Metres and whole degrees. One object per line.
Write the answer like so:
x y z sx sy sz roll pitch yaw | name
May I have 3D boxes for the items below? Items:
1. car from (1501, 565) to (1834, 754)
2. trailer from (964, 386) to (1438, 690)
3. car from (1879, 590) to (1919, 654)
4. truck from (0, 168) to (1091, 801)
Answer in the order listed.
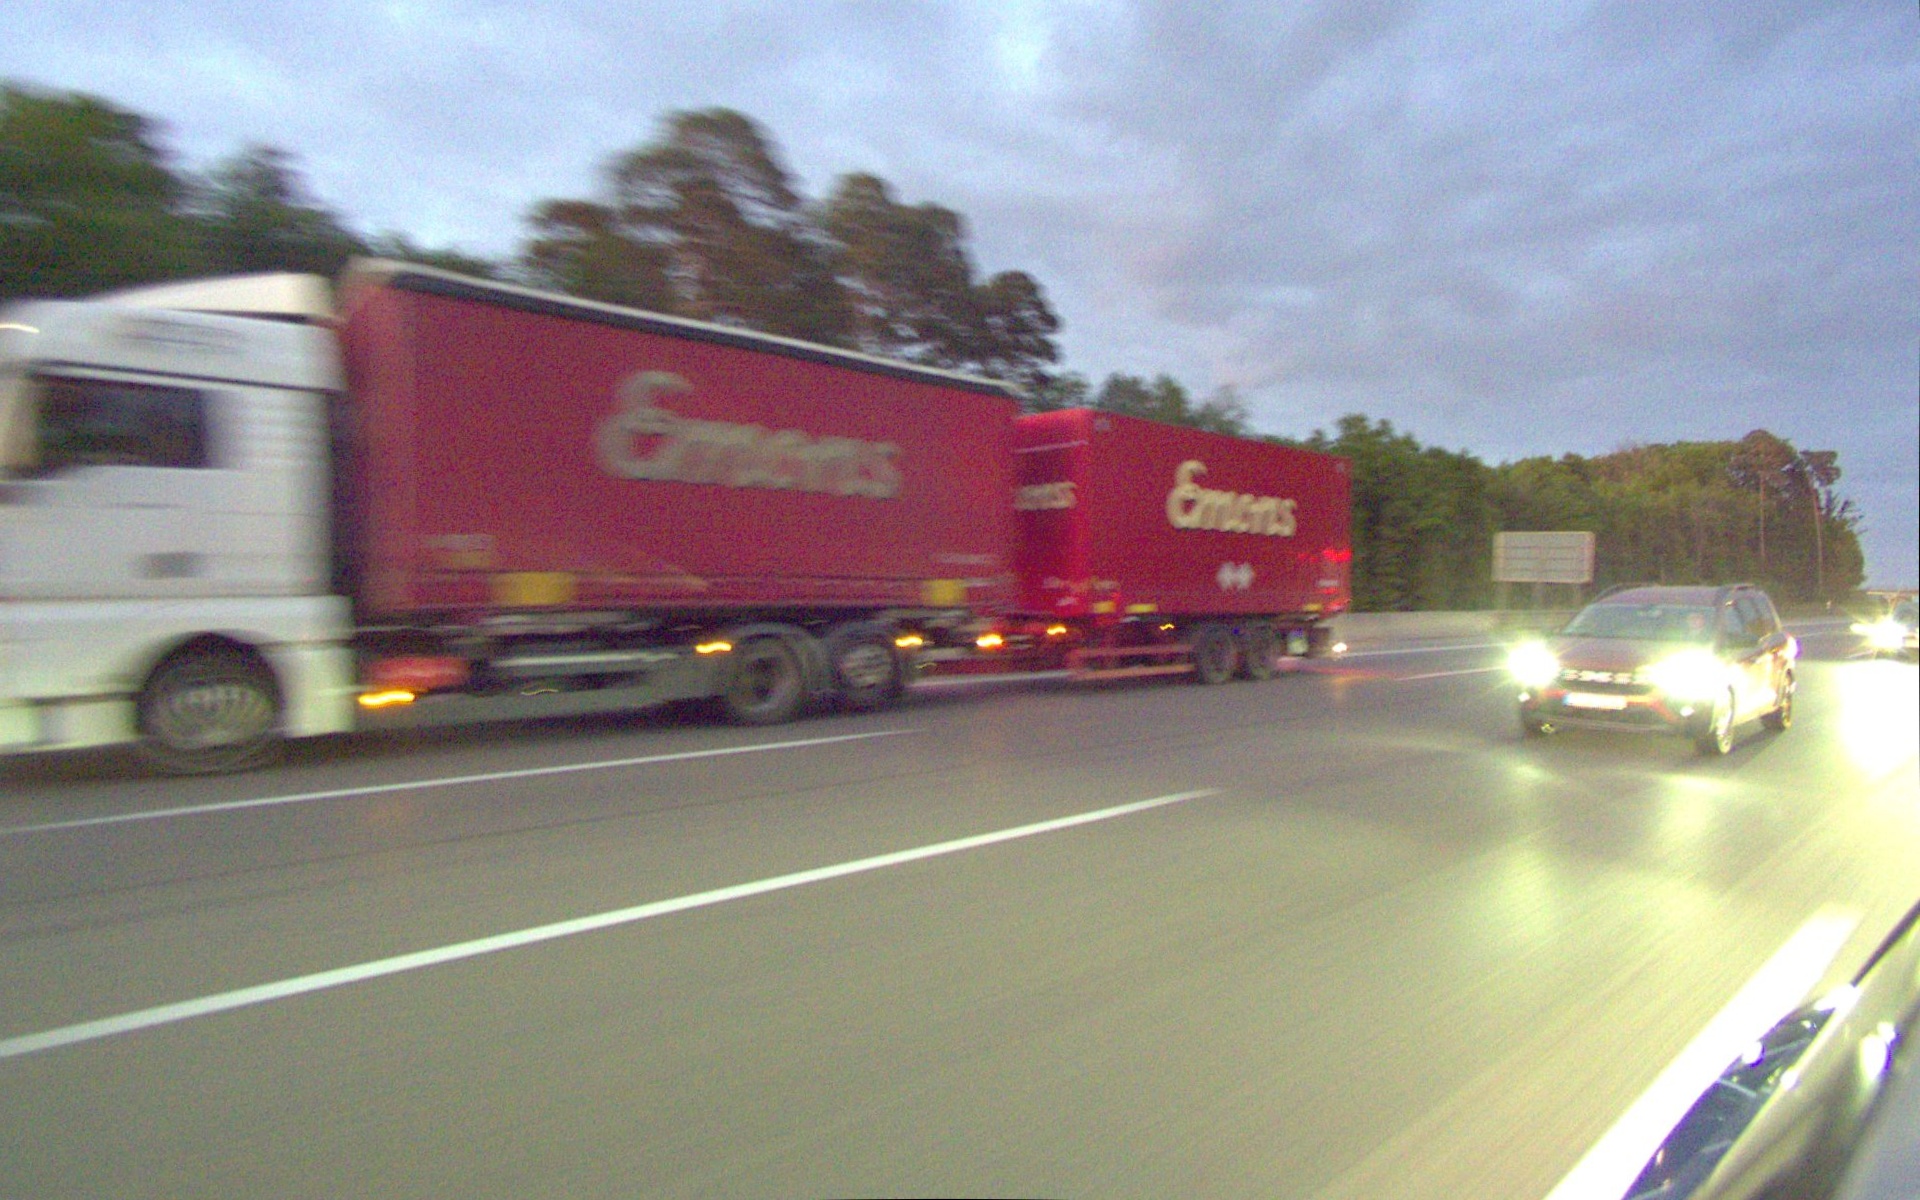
8.054 0.545 11.308 4.963 1.664 1.906 1 0 -41 | car
4.864 -0.878 18.262 10.176 4.152 2.912 0 1 -41 | trailer
25.990 0.554 26.703 5.139 1.556 1.913 -1 2 -40 | car
-3.204 -0.790 11.229 10.642 4.152 2.890 0 1 -41 | truck
